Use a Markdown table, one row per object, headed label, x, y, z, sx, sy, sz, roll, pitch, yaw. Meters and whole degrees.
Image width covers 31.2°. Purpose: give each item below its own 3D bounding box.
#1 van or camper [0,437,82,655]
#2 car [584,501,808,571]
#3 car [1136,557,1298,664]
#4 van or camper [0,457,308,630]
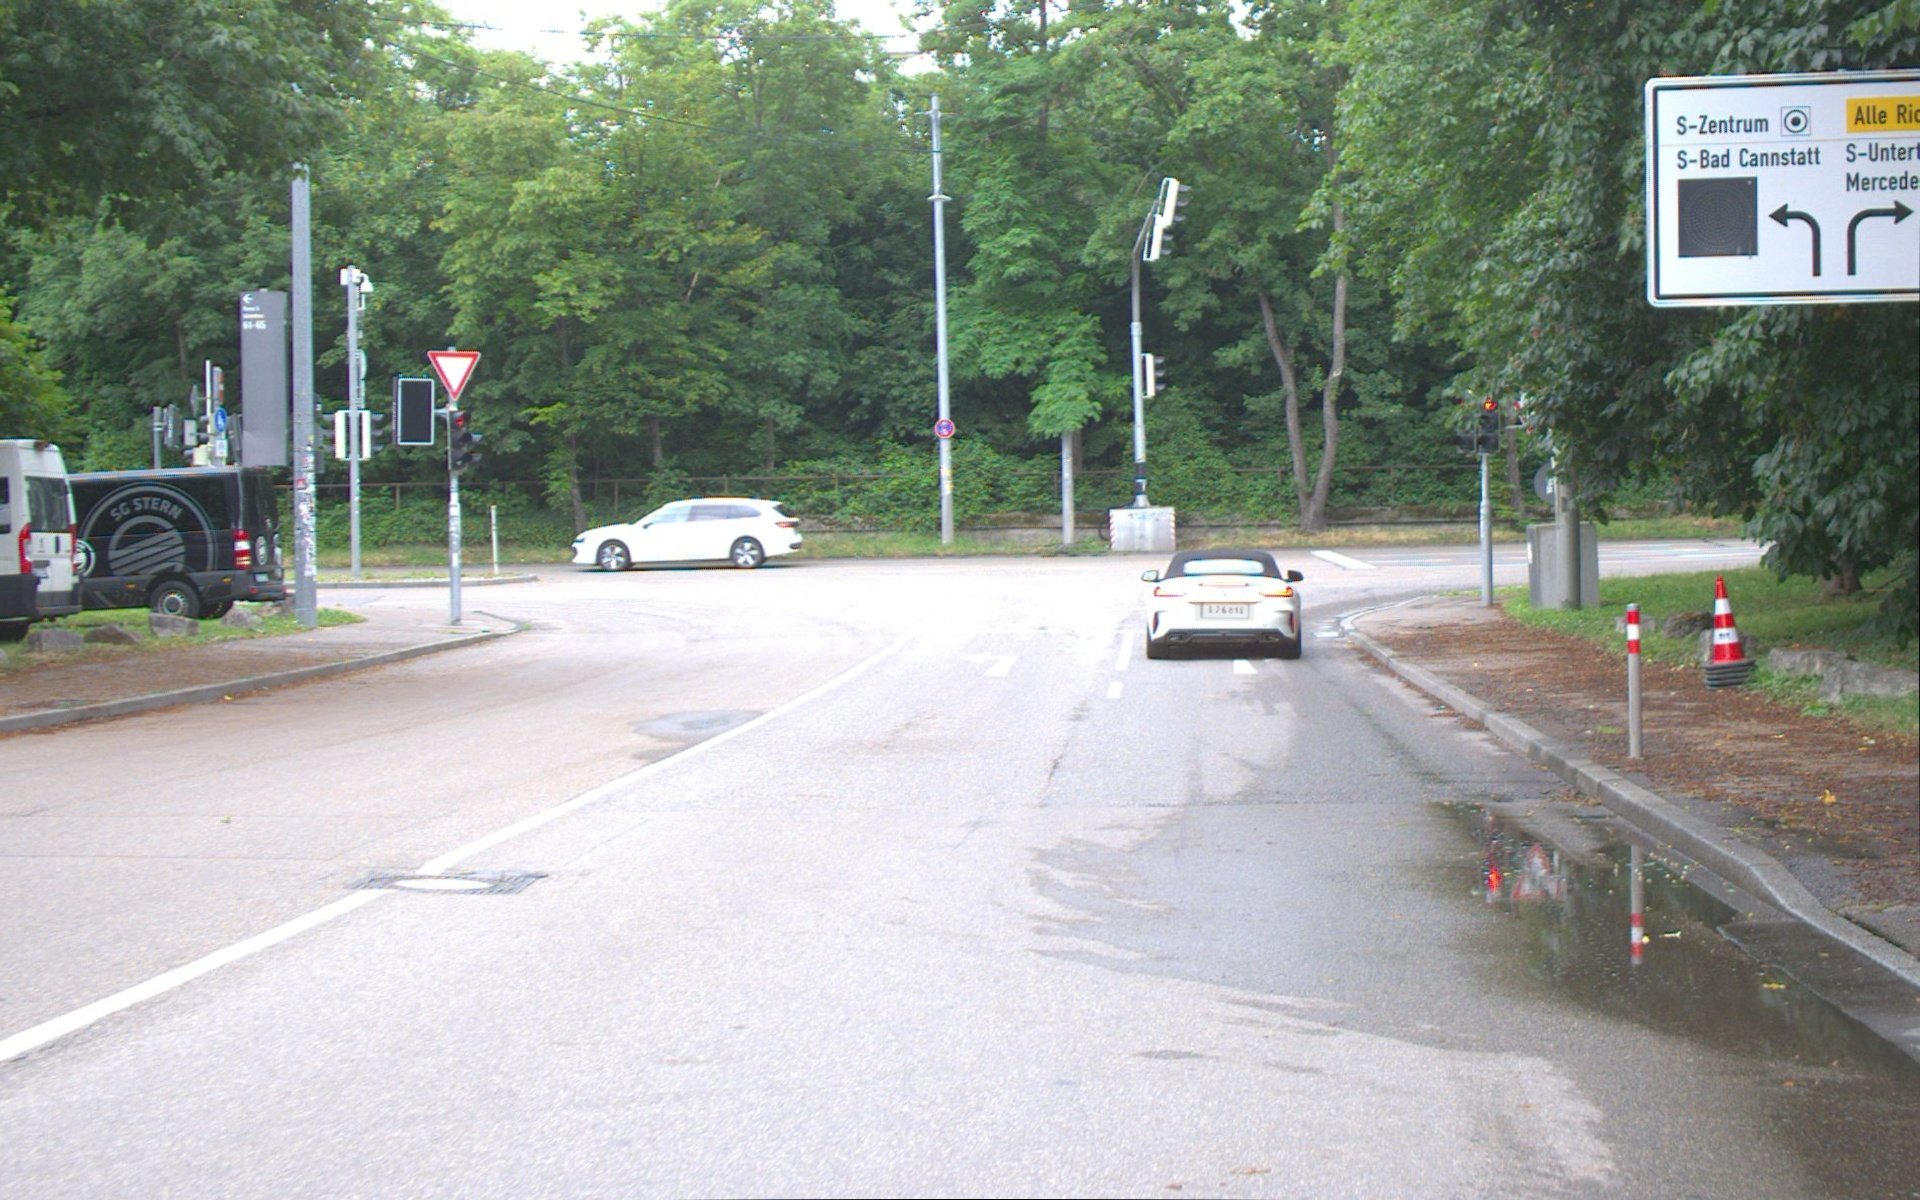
| label | x | y | z | sx | sy | sz | roll | pitch | yaw |
| --- | --- | --- | --- | --- | --- | --- | --- | --- | --- |
| van or camper | -13.343 | -0.641 | 41.418 | 4.971 | 2.562 | 2.061 | 0 | 0 | 2 |
| car | -5.623 | -1.361 | 73.647 | 4.673 | 1.451 | 1.900 | 0 | 0 | 0 |
| car | 3.143 | 0.131 | 42.641 | 1.827 | 1.253 | 4.000 | 0 | 0 | 2 |
| van or camper | -12.686 | -0.785 | 50.873 | 5.536 | 2.306 | 2.061 | -2 | -1 | 6 |
